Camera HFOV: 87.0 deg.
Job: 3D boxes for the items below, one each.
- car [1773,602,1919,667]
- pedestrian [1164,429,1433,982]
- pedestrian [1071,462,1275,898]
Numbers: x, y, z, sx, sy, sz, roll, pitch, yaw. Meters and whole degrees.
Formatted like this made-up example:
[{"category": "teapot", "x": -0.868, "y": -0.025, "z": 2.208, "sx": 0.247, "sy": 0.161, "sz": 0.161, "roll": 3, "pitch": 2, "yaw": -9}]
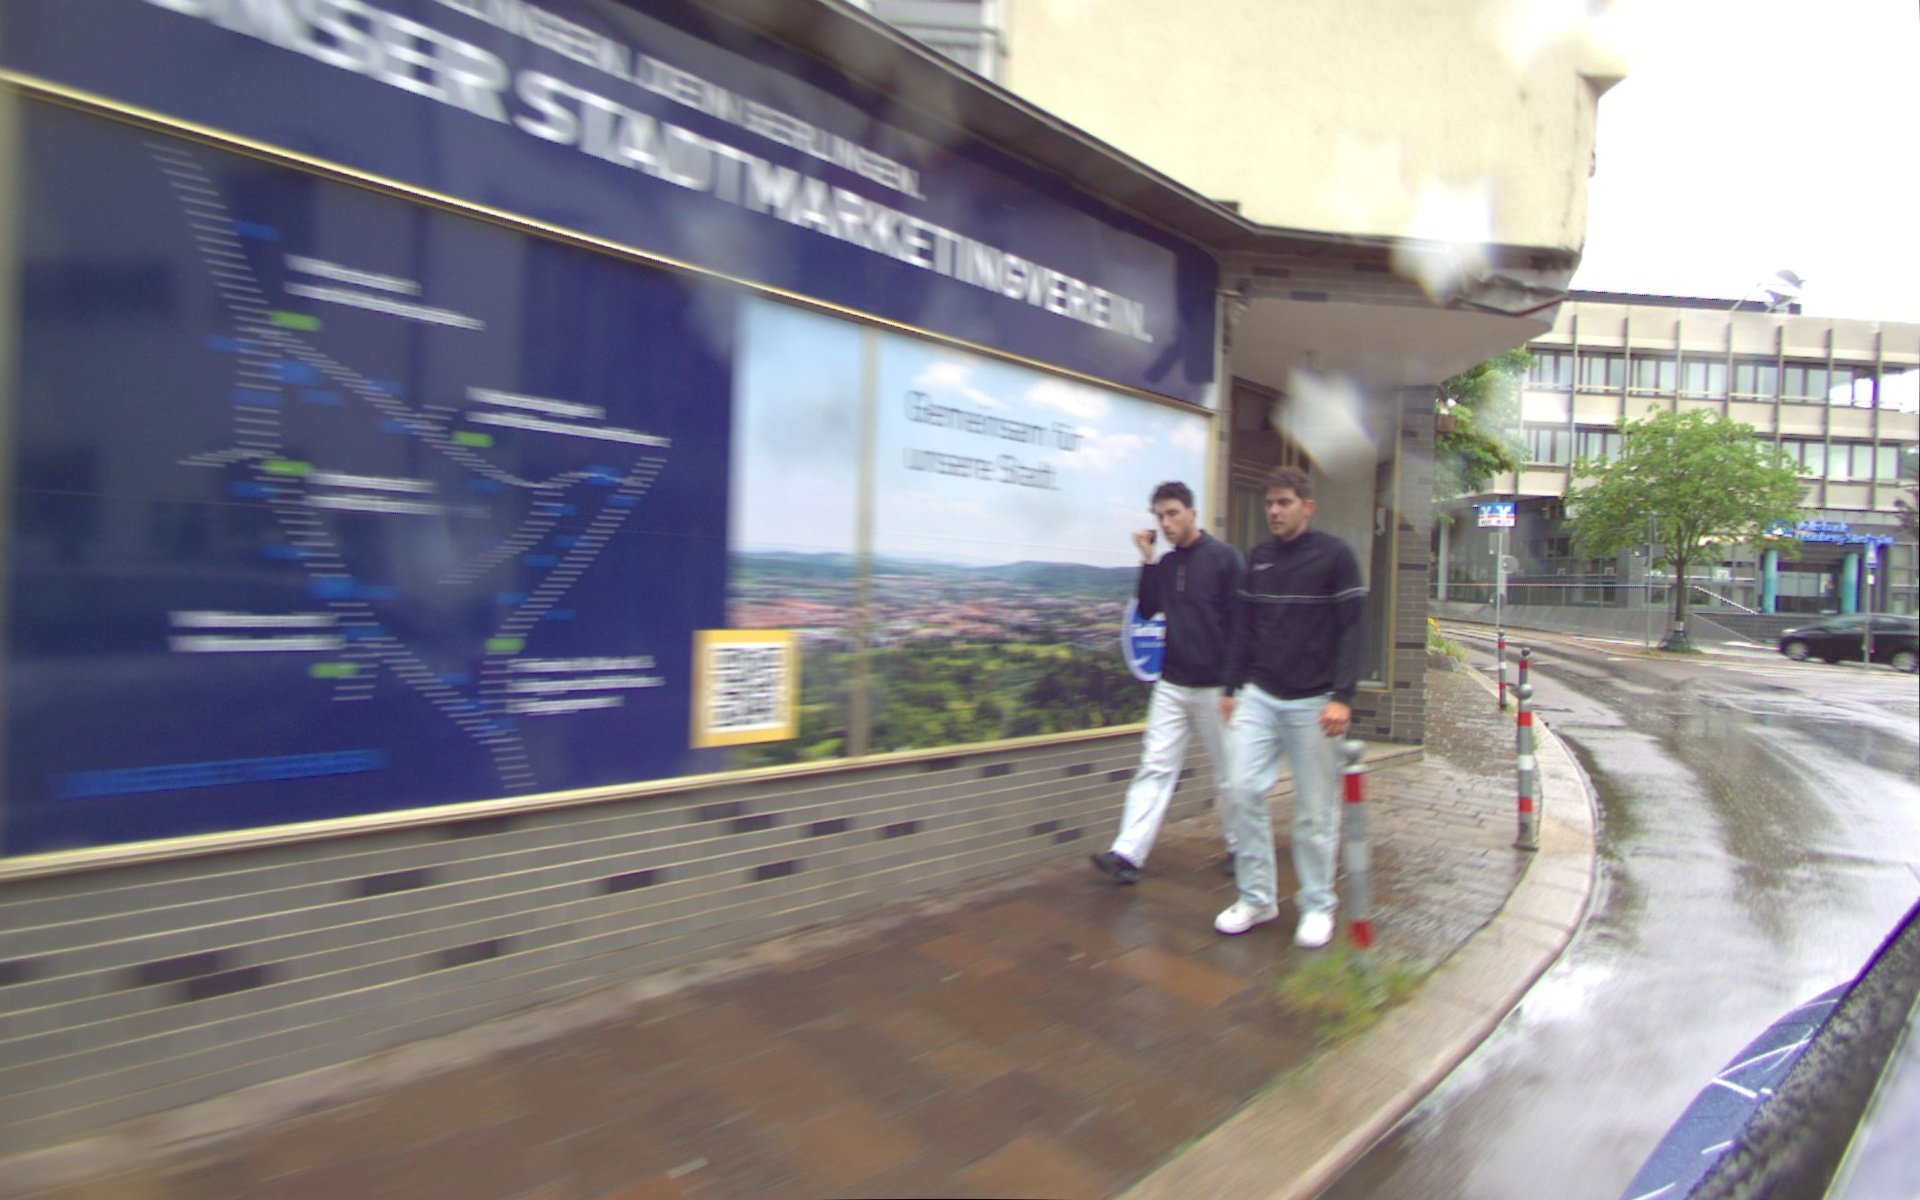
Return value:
[{"category": "car", "x": 24.550, "y": 0.922, "z": 26.994, "sx": 1.836, "sy": 1.434, "sz": 4.011, "roll": 2, "pitch": 3, "yaw": -21}, {"category": "pedestrian", "x": 1.367, "y": 0.358, "z": 4.082, "sx": 0.771, "sy": 1.928, "sz": 0.793, "roll": 0, "pitch": 1, "yaw": 44}, {"category": "pedestrian", "x": 1.028, "y": 0.333, "z": 4.905, "sx": 0.654, "sy": 1.926, "sz": 0.649, "roll": 4, "pitch": 3, "yaw": 44}]
